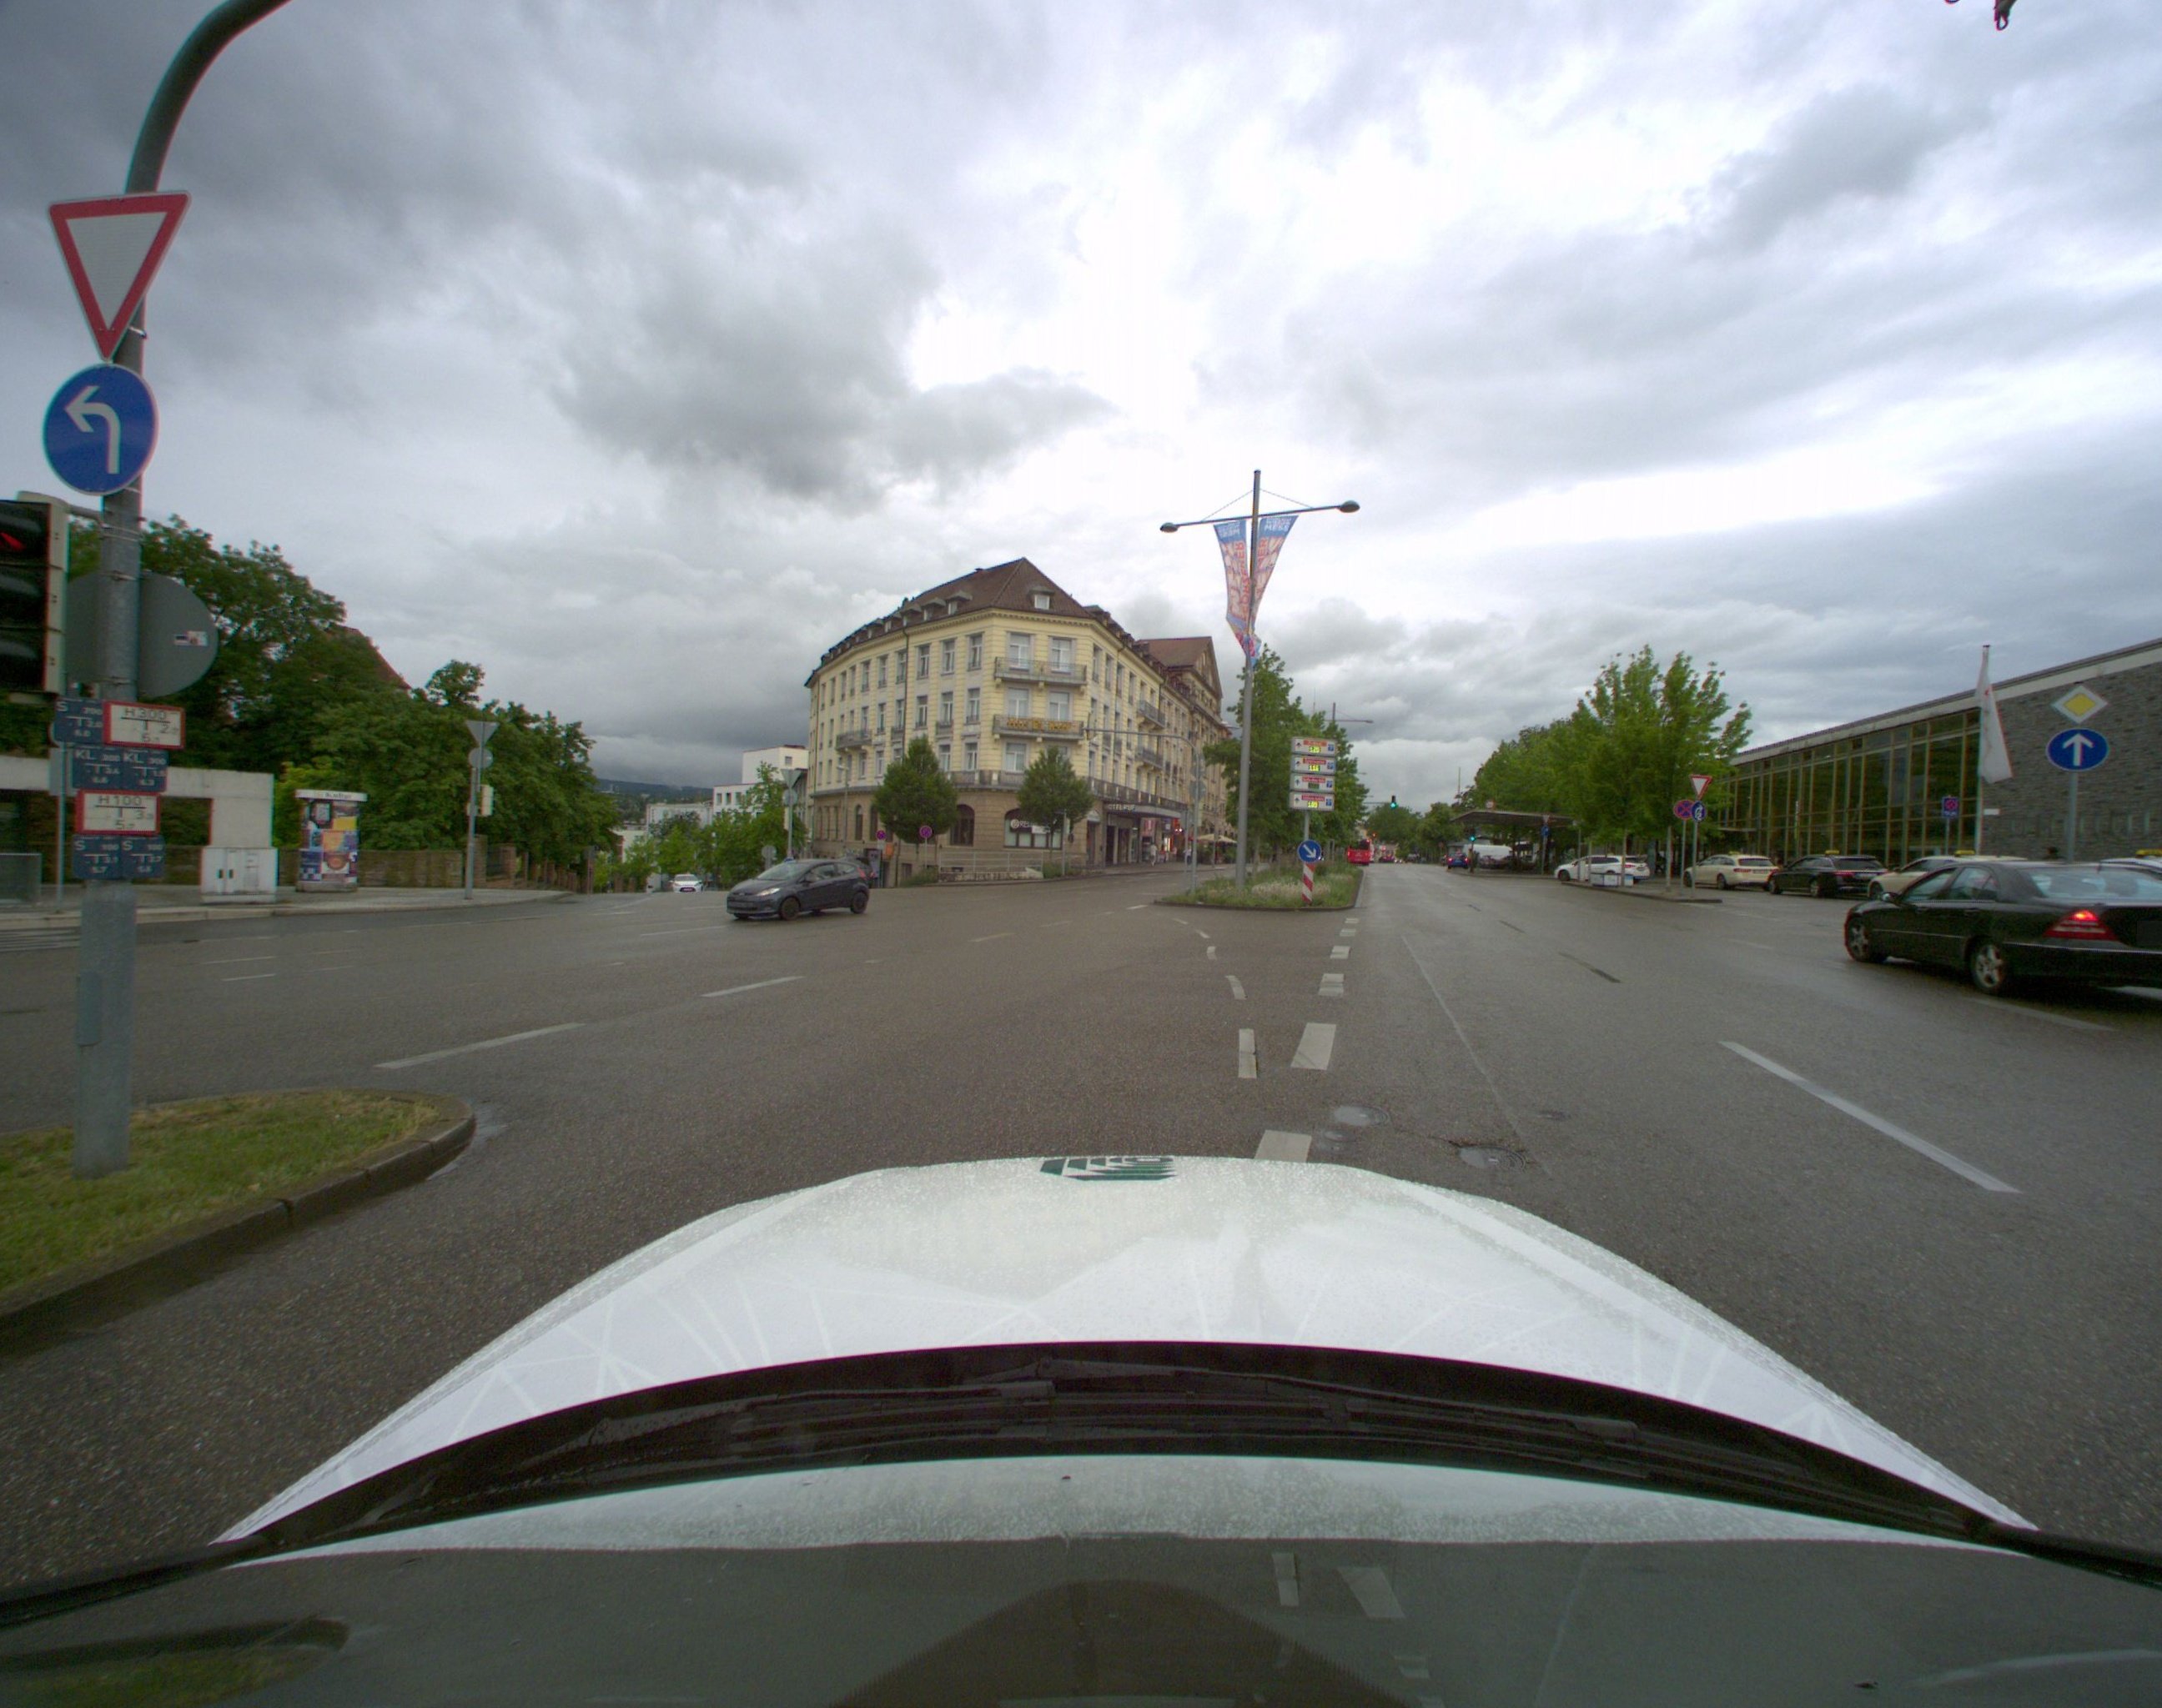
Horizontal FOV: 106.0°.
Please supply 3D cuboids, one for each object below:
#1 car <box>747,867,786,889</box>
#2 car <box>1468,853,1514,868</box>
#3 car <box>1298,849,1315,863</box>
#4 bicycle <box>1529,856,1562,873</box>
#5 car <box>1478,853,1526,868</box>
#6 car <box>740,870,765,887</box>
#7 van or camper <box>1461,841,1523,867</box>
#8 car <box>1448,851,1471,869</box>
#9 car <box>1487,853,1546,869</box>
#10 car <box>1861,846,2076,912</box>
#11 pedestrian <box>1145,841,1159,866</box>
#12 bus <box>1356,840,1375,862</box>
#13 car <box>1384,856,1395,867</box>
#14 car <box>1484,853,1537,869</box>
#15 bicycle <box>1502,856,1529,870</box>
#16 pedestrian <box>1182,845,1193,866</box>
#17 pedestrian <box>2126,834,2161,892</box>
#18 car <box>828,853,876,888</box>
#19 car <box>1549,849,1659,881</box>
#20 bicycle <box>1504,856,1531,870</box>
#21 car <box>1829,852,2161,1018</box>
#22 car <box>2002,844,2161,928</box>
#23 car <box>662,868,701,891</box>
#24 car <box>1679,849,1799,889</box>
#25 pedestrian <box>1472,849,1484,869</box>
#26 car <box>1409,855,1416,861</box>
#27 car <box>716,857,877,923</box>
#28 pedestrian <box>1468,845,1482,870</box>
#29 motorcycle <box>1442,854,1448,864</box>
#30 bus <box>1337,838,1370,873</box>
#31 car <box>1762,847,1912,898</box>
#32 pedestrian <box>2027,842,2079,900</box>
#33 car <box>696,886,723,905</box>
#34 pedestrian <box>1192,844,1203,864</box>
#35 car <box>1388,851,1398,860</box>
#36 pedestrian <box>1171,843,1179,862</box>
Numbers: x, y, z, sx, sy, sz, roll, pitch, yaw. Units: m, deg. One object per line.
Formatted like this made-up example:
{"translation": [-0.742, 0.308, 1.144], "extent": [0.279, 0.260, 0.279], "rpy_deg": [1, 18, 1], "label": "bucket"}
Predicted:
{"translation": [-22.857, 1.732, 59.057], "extent": [1.777, 1.478, 3.967], "rpy_deg": [0, -1, -34], "label": "car"}
{"translation": [42.827, 0.683, 85.057], "extent": [3.982, 1.443, 1.860], "rpy_deg": [1, 0, -7], "label": "car"}
{"translation": [34.115, 0.303, 123.173], "extent": [1.976, 2.014, 5.027], "rpy_deg": [-1, 0, 22], "label": "car"}
{"translation": [30.510, 0.697, 53.467], "extent": [1.812, 1.056, 0.422], "rpy_deg": [0, -1, 19], "label": "bicycle"}
{"translation": [42.756, 0.669, 82.734], "extent": [3.982, 1.443, 1.860], "rpy_deg": [1, 0, -7], "label": "car"}
{"translation": [-31.372, 2.324, 77.648], "extent": [1.775, 1.478, 3.963], "rpy_deg": [0, 0, -28], "label": "car"}
{"translation": [45.644, -0.021, 90.512], "extent": [5.941, 2.763, 2.193], "rpy_deg": [0, -1, -7], "label": "van or camper"}
{"translation": [35.144, 0.566, 75.761], "extent": [1.842, 1.569, 4.022], "rpy_deg": [1, 0, 24], "label": "car"}
{"translation": [38.143, 0.623, 71.349], "extent": [4.171, 1.325, 1.840], "rpy_deg": [1, 0, 0], "label": "car"}
{"translation": [24.217, 0.611, 22.544], "extent": [1.977, 1.599, 4.983], "rpy_deg": [-1, 0, 20], "label": "car"}
{"translation": [5.200, -0.012, 59.587], "extent": [0.872, 1.813, 0.754], "rpy_deg": [-1, -1, 20], "label": "pedestrian"}
{"translation": [50.153, -0.459, 143.618], "extent": [2.783, 3.747, 10.493], "rpy_deg": [-2, -1, 18], "label": "bus"}
{"translation": [60.641, 1.476, 160.346], "extent": [1.977, 2.014, 4.020], "rpy_deg": [-1, 0, 20], "label": "car"}
{"translation": [39.426, 0.636, 74.803], "extent": [3.988, 1.359, 1.858], "rpy_deg": [1, 0, -11], "label": "car"}
{"translation": [33.127, 0.660, 62.110], "extent": [1.820, 1.056, 0.420], "rpy_deg": [0, -1, 2], "label": "bicycle"}
{"translation": [8.760, 0.117, 67.059], "extent": [0.675, 1.664, 0.811], "rpy_deg": [-1, -1, 23], "label": "pedestrian"}
{"translation": [29.941, 0.251, 22.668], "extent": [0.762, 1.580, 0.714], "rpy_deg": [0, -1, 16], "label": "pedestrian"}
{"translation": [-12.577, 0.859, 44.539], "extent": [1.640, 1.759, 3.962], "rpy_deg": [0, 0, -30], "label": "car"}
{"translation": [26.971, 0.565, 42.228], "extent": [1.763, 1.546, 4.746], "rpy_deg": [1, 0, -19], "label": "car"}
{"translation": [33.063, 0.658, 61.650], "extent": [1.820, 1.056, 0.420], "rpy_deg": [0, -1, 2], "label": "bicycle"}
{"translation": [10.491, 0.719, 9.195], "extent": [1.679, 1.465, 4.477], "rpy_deg": [-1, 0, 24], "label": "car"}
{"translation": [22.166, 0.610, 16.943], "extent": [1.864, 1.599, 4.927], "rpy_deg": [-1, 0, 20], "label": "car"}
{"translation": [-26.110, 1.661, 53.175], "extent": [1.642, 1.398, 3.956], "rpy_deg": [0, -1, -36], "label": "car"}
{"translation": [27.951, 0.601, 34.821], "extent": [1.980, 1.599, 4.975], "rpy_deg": [0, 0, 12], "label": "car"}
{"translation": [36.564, 0.451, 74.973], "extent": [0.849, 1.835, 1.196], "rpy_deg": [0, -1, 20], "label": "pedestrian"}
{"translation": [82.572, 1.063, 202.697], "extent": [1.581, 1.560, 3.668], "rpy_deg": [-1, 0, 20], "label": "car"}
{"translation": [-7.081, 0.831, 20.675], "extent": [1.662, 1.512, 3.884], "rpy_deg": [-1, 0, 23], "label": "car"}
{"translation": [28.383, 0.271, 58.671], "extent": [0.741, 1.747, 0.839], "rpy_deg": [0, -1, 12], "label": "pedestrian"}
{"translation": [48.104, 0.700, 107.659], "extent": [0.590, 1.288, 1.965], "rpy_deg": [0, 0, 26], "label": "motorcycle"}
{"translation": [32.665, 0.214, 97.637], "extent": [3.516, 3.979, 11.223], "rpy_deg": [-1, 0, 18], "label": "bus"}
{"translation": [26.263, 0.577, 28.550], "extent": [1.977, 1.599, 4.982], "rpy_deg": [1, 1, 19], "label": "car"}
{"translation": [28.113, 0.490, 23.557], "extent": [0.724, 1.626, 0.791], "rpy_deg": [0, -1, -24], "label": "pedestrian"}
{"translation": [-34.424, 3.798, 75.430], "extent": [1.642, 1.549, 3.610], "rpy_deg": [0, -1, -36], "label": "car"}
{"translation": [9.547, 0.021, 66.773], "extent": [0.676, 1.664, 0.811], "rpy_deg": [-1, -1, 20], "label": "pedestrian"}
{"translation": [66.794, 0.309, 174.542], "extent": [1.977, 2.014, 4.020], "rpy_deg": [-1, 0, 20], "label": "car"}
{"translation": [8.530, -0.137, 73.870], "extent": [0.662, 1.664, 0.538], "rpy_deg": [0, -1, 11], "label": "pedestrian"}
